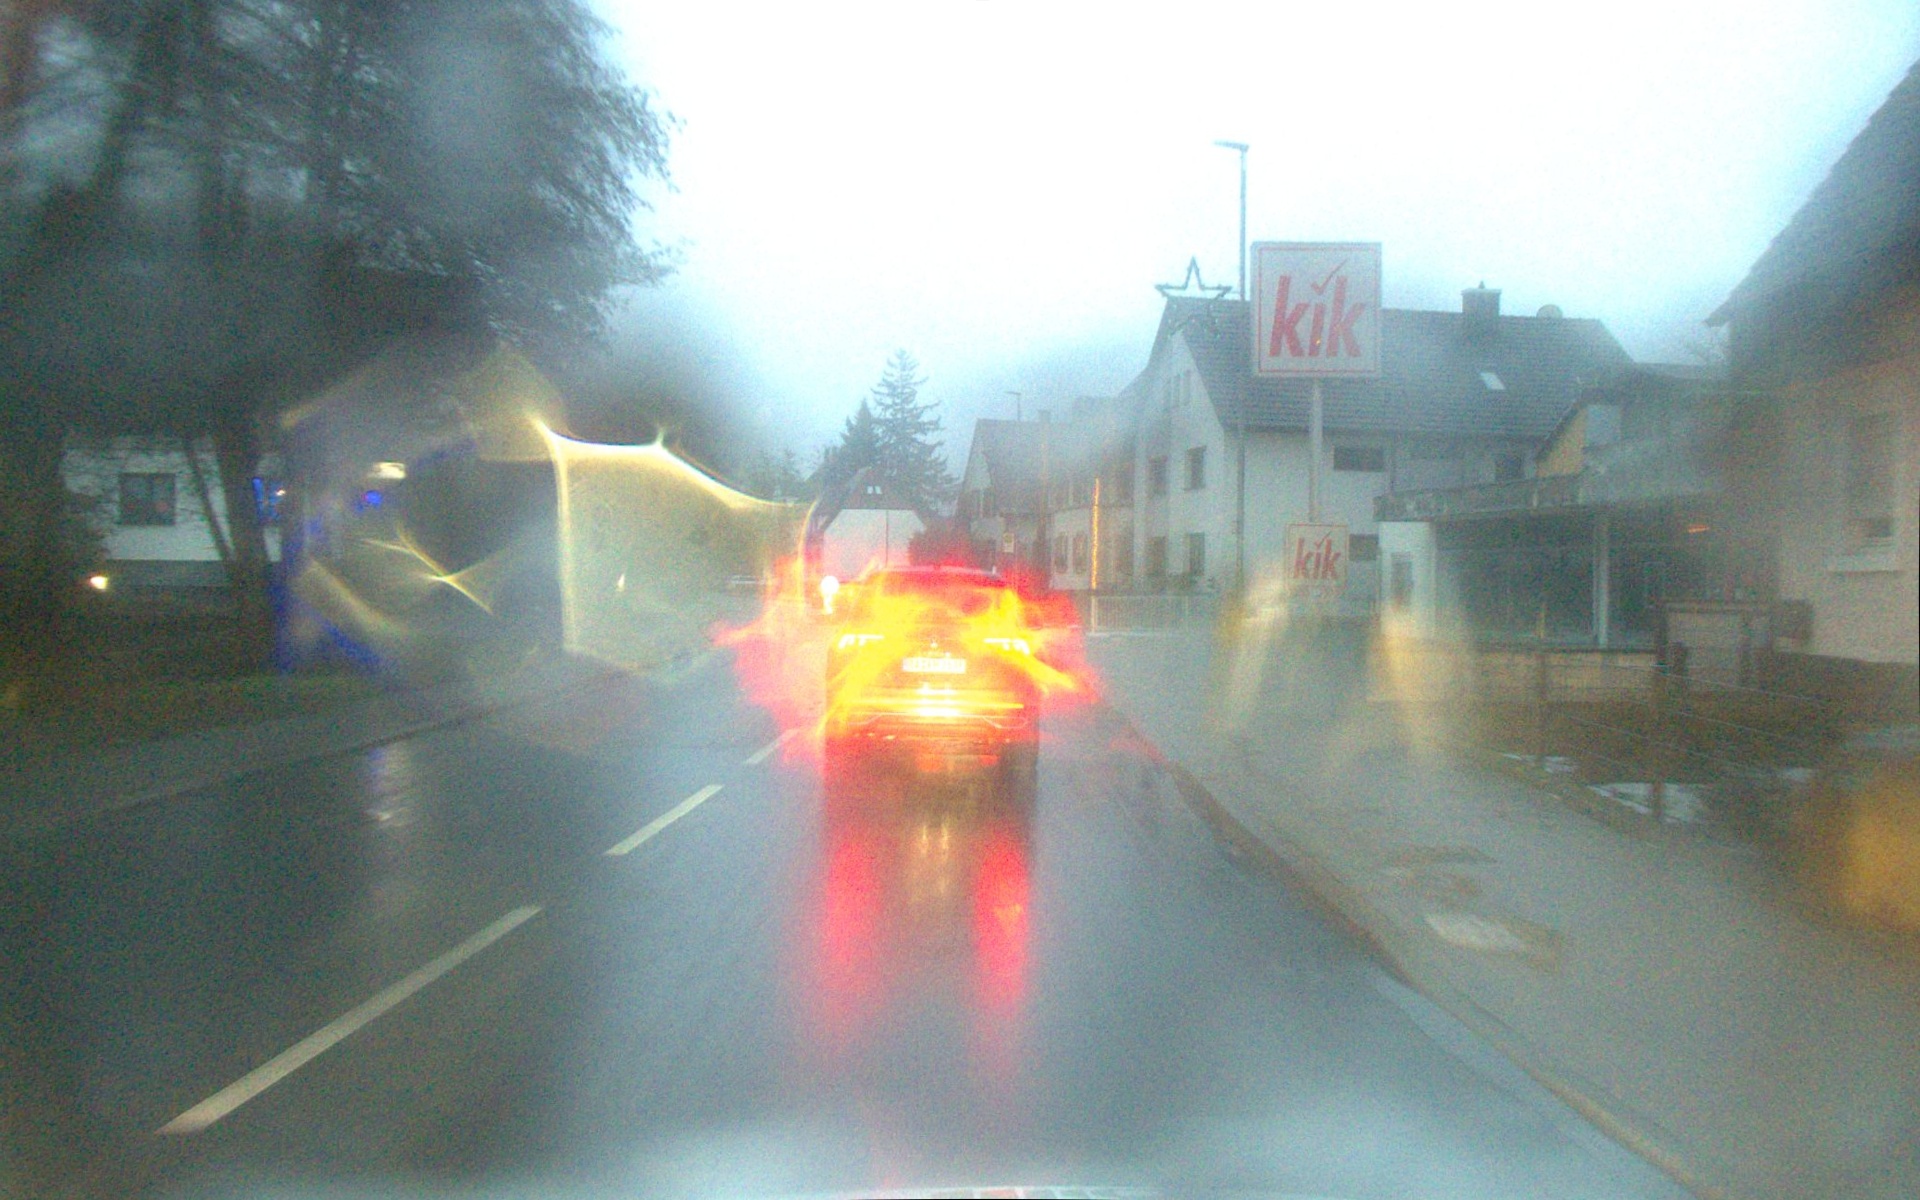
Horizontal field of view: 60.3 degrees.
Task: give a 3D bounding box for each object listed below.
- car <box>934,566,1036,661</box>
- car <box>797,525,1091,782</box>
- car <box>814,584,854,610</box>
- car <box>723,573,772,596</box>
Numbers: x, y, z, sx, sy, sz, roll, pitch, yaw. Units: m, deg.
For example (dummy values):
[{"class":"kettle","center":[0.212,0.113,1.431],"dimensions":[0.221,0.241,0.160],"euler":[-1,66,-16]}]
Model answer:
[{"class":"car","center":[0.422,0.215,32.083],"dimensions":[1.820,1.676,3.999],"euler":[2,1,-1]},{"class":"car","center":[-0.154,0.410,15.312],"dimensions":[2.262,1.972,5.017],"euler":[0,0,-1]},{"class":"car","center":[-6.638,-0.172,86.690],"dimensions":[1.808,1.355,3.930],"euler":[0,1,-8]},{"class":"car","center":[-18.975,-1.363,147.383],"dimensions":[4.173,2.049,1.805],"euler":[0,1,-13]}]
